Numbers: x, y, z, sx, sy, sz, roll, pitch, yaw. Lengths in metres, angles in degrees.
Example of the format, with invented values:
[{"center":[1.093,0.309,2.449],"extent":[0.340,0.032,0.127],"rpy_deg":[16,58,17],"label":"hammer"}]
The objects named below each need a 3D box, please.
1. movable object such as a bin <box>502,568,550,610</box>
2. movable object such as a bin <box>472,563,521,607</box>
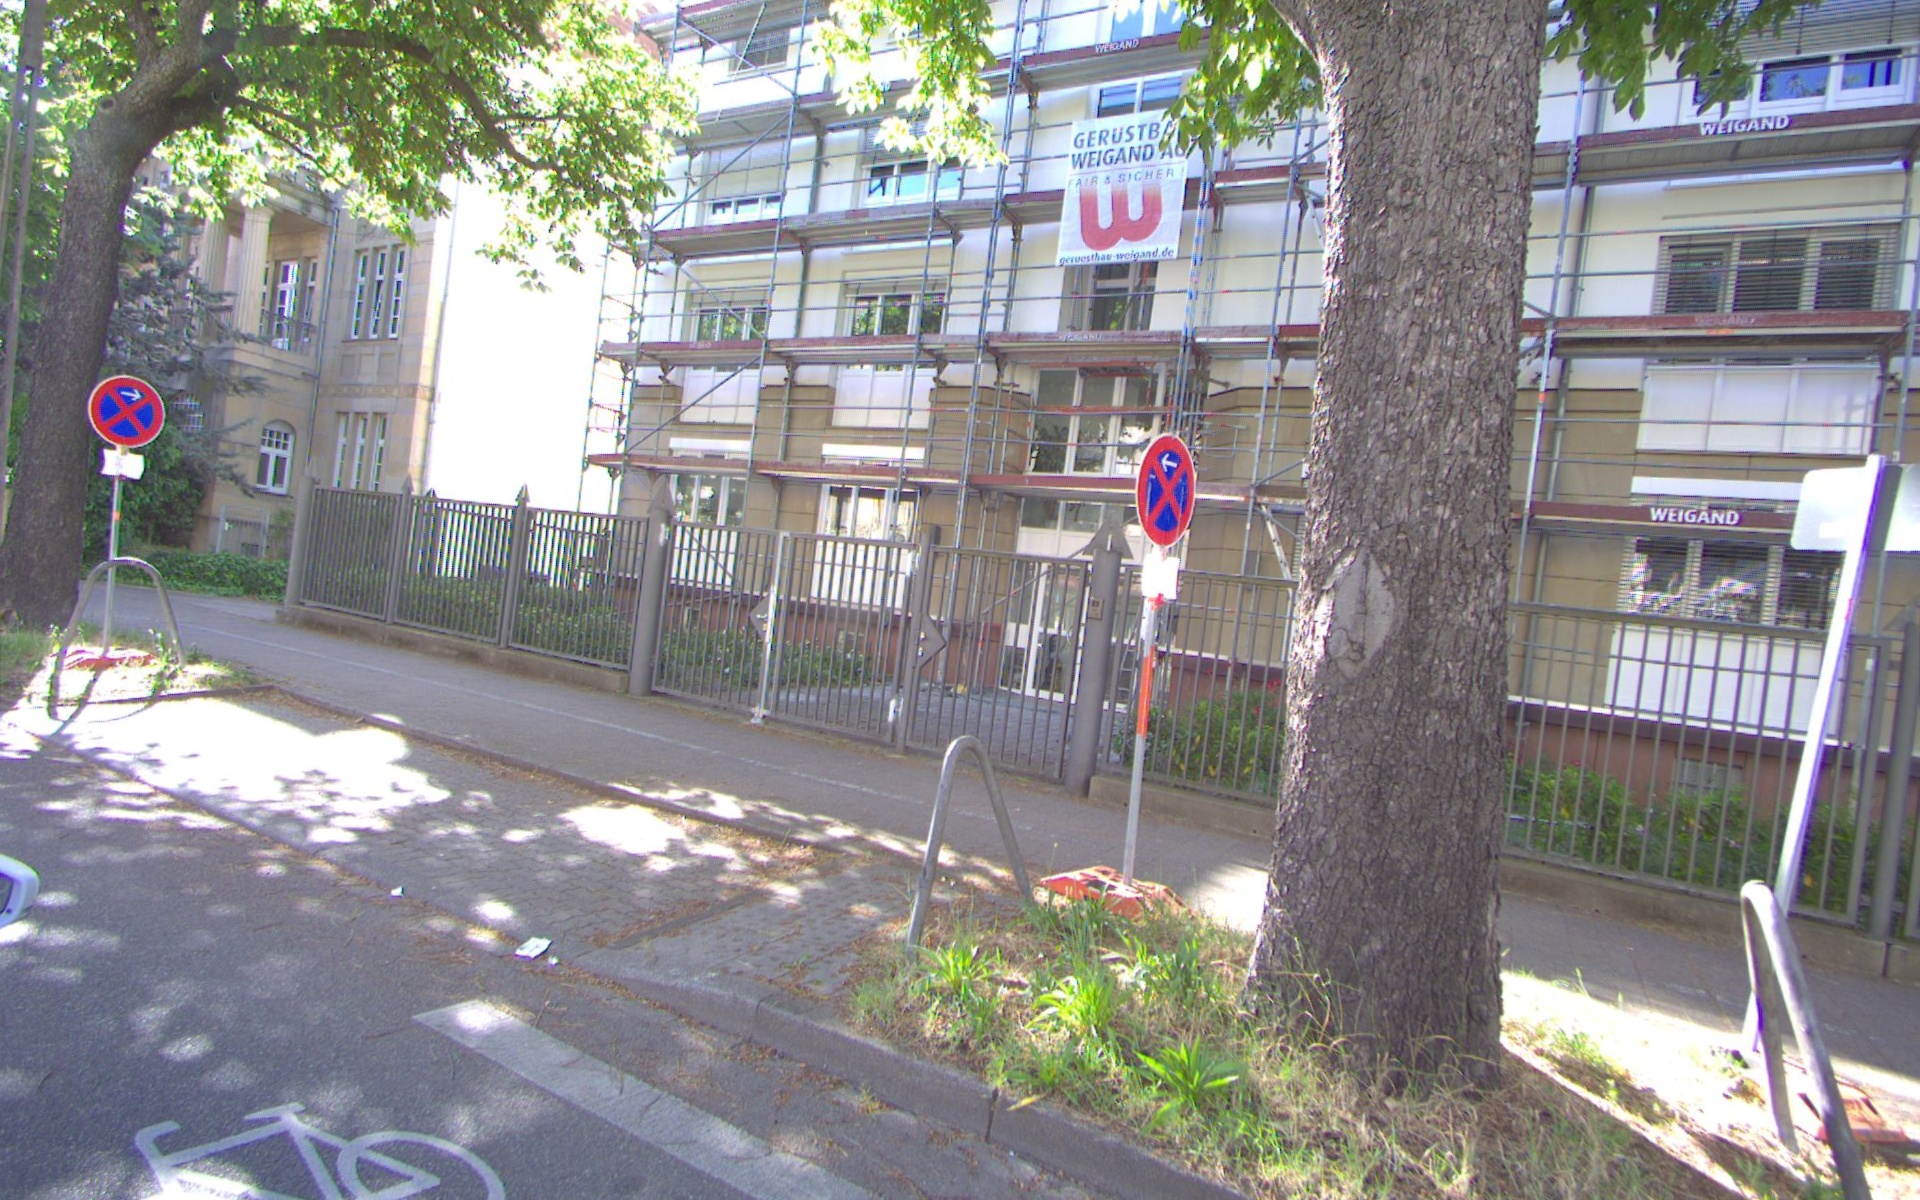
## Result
[{"center":[-11.295,-0.285,26.199],"extent":[0.637,0.966,0.835],"rpy_deg":[6,-2,30],"label":"movable object such as a bin"},{"center":[-11.716,-0.371,25.442],"extent":[0.637,0.966,0.835],"rpy_deg":[6,-2,30],"label":"movable object such as a bin"}]
